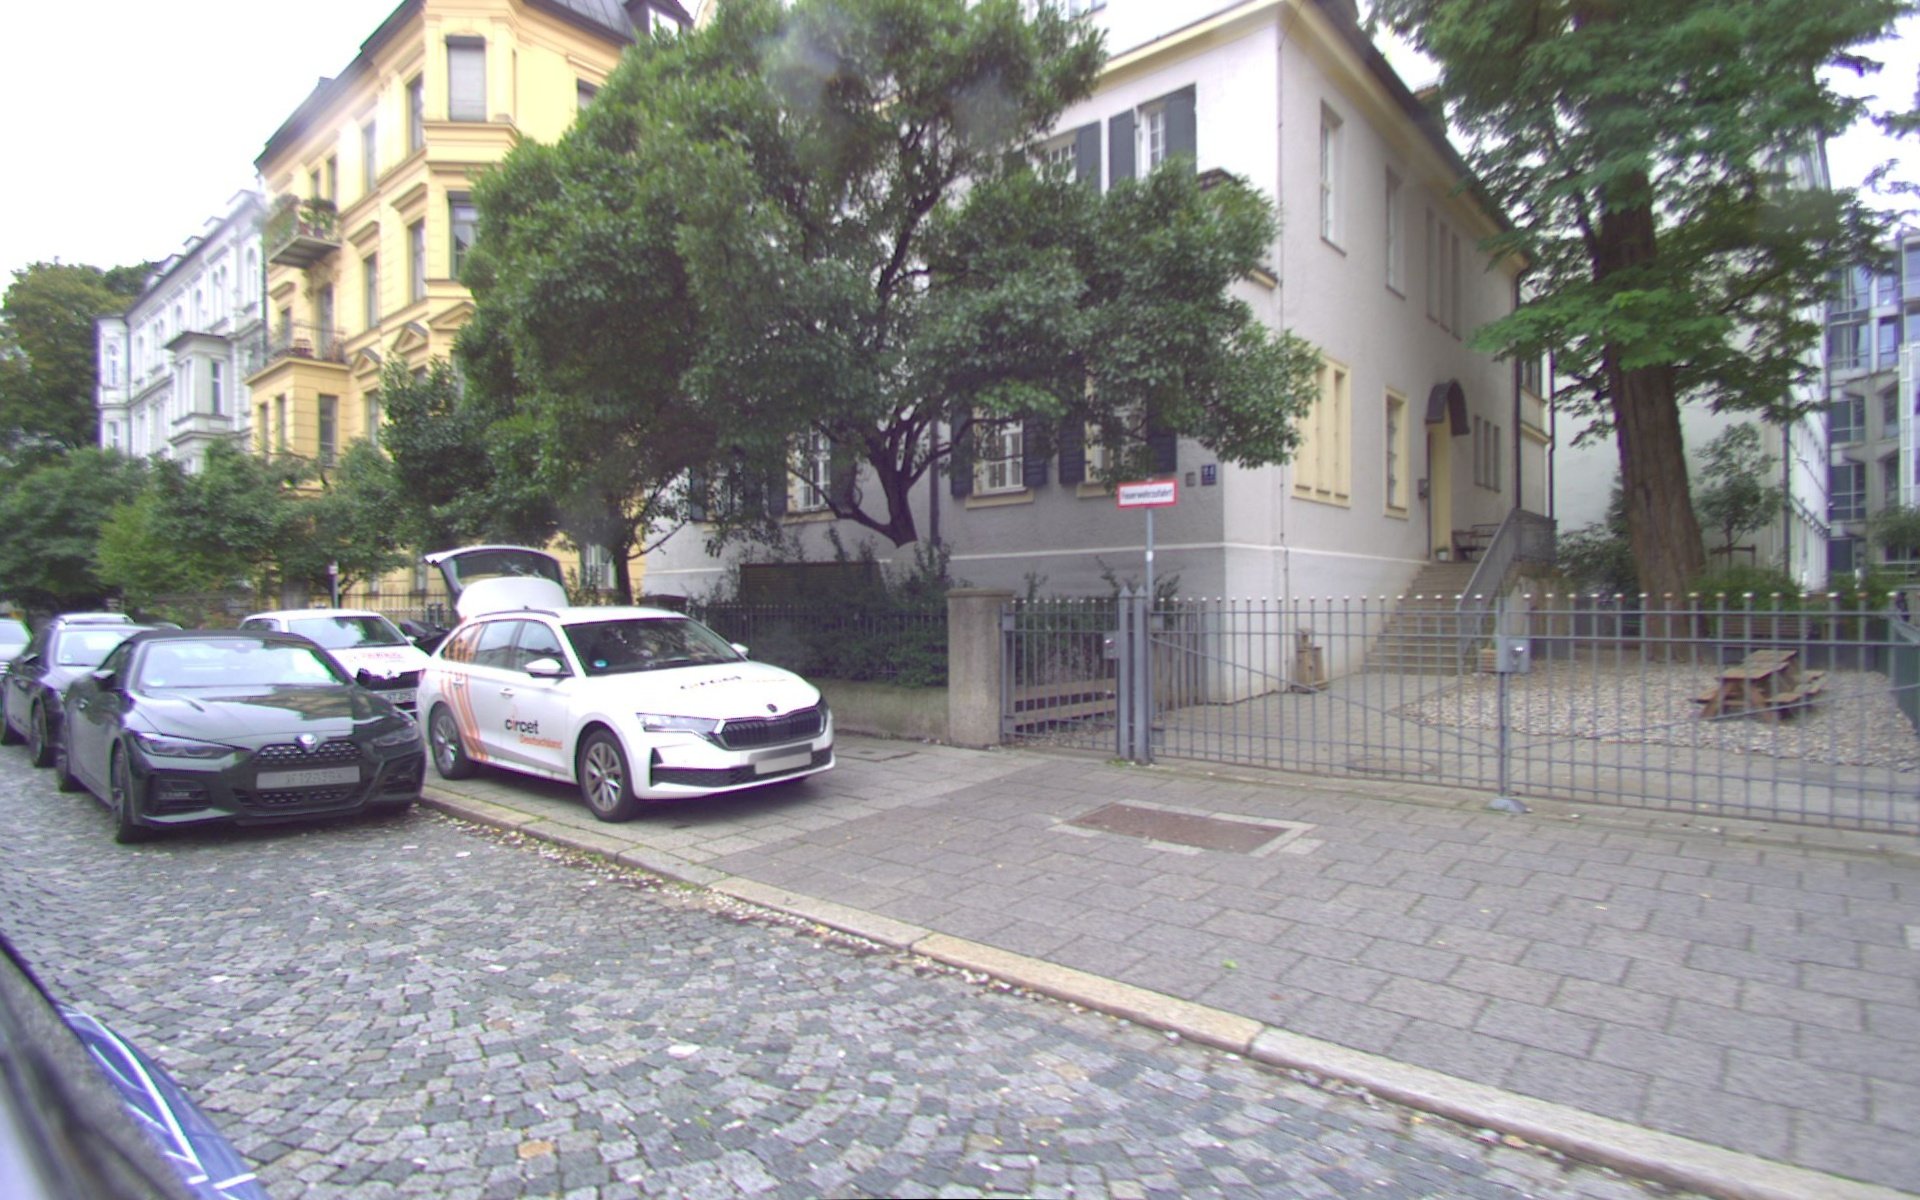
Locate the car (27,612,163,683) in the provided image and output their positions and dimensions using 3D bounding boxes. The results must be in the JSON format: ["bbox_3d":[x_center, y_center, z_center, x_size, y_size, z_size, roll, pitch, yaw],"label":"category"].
[{"bbox_3d":[-20.680,1.074,24.131,4.387,1.477,1.823,-1,0,41],"label":"car"}]

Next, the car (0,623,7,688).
[{"bbox_3d":[-24.389,1.295,24.077,5.128,1.481,1.851,-1,-2,39],"label":"car"}]

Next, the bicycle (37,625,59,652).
[{"bbox_3d":[-38.560,1.632,42.783,1.694,1.059,0.458,-1,3,41],"label":"bicycle"}]

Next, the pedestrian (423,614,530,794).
[{"bbox_3d":[-4.751,0.978,9.949,0.582,1.662,0.758,-1,0,42],"label":"pedestrian"}]

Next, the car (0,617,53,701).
[{"bbox_3d":[-19.902,1.143,20.361,4.186,1.598,1.723,-1,-2,38],"label":"car"}]

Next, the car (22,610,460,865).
[{"bbox_3d":[-6.001,0.865,8.163,4.911,1.466,1.795,-1,-3,42],"label":"car"}]

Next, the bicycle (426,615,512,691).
[{"bbox_3d":[-8.655,0.903,17.807,2.059,1.268,0.599,-1,0,41],"label":"bicycle"}]

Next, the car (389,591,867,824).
[{"bbox_3d":[-3.001,0.707,8.538,4.560,1.427,1.757,-1,1,42],"label":"car"}]

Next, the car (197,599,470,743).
[{"bbox_3d":[-8.340,0.819,13.301,4.463,1.548,1.722,-1,1,40],"label":"car"}]

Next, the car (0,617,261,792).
[{"bbox_3d":[-9.693,1.018,11.523,4.533,1.615,1.722,-1,-2,40],"label":"car"}]

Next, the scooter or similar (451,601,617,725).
[{"bbox_3d":[-5.879,0.808,13.859,2.633,1.535,1.051,-1,-1,41],"label":"scooter or similar"}]
